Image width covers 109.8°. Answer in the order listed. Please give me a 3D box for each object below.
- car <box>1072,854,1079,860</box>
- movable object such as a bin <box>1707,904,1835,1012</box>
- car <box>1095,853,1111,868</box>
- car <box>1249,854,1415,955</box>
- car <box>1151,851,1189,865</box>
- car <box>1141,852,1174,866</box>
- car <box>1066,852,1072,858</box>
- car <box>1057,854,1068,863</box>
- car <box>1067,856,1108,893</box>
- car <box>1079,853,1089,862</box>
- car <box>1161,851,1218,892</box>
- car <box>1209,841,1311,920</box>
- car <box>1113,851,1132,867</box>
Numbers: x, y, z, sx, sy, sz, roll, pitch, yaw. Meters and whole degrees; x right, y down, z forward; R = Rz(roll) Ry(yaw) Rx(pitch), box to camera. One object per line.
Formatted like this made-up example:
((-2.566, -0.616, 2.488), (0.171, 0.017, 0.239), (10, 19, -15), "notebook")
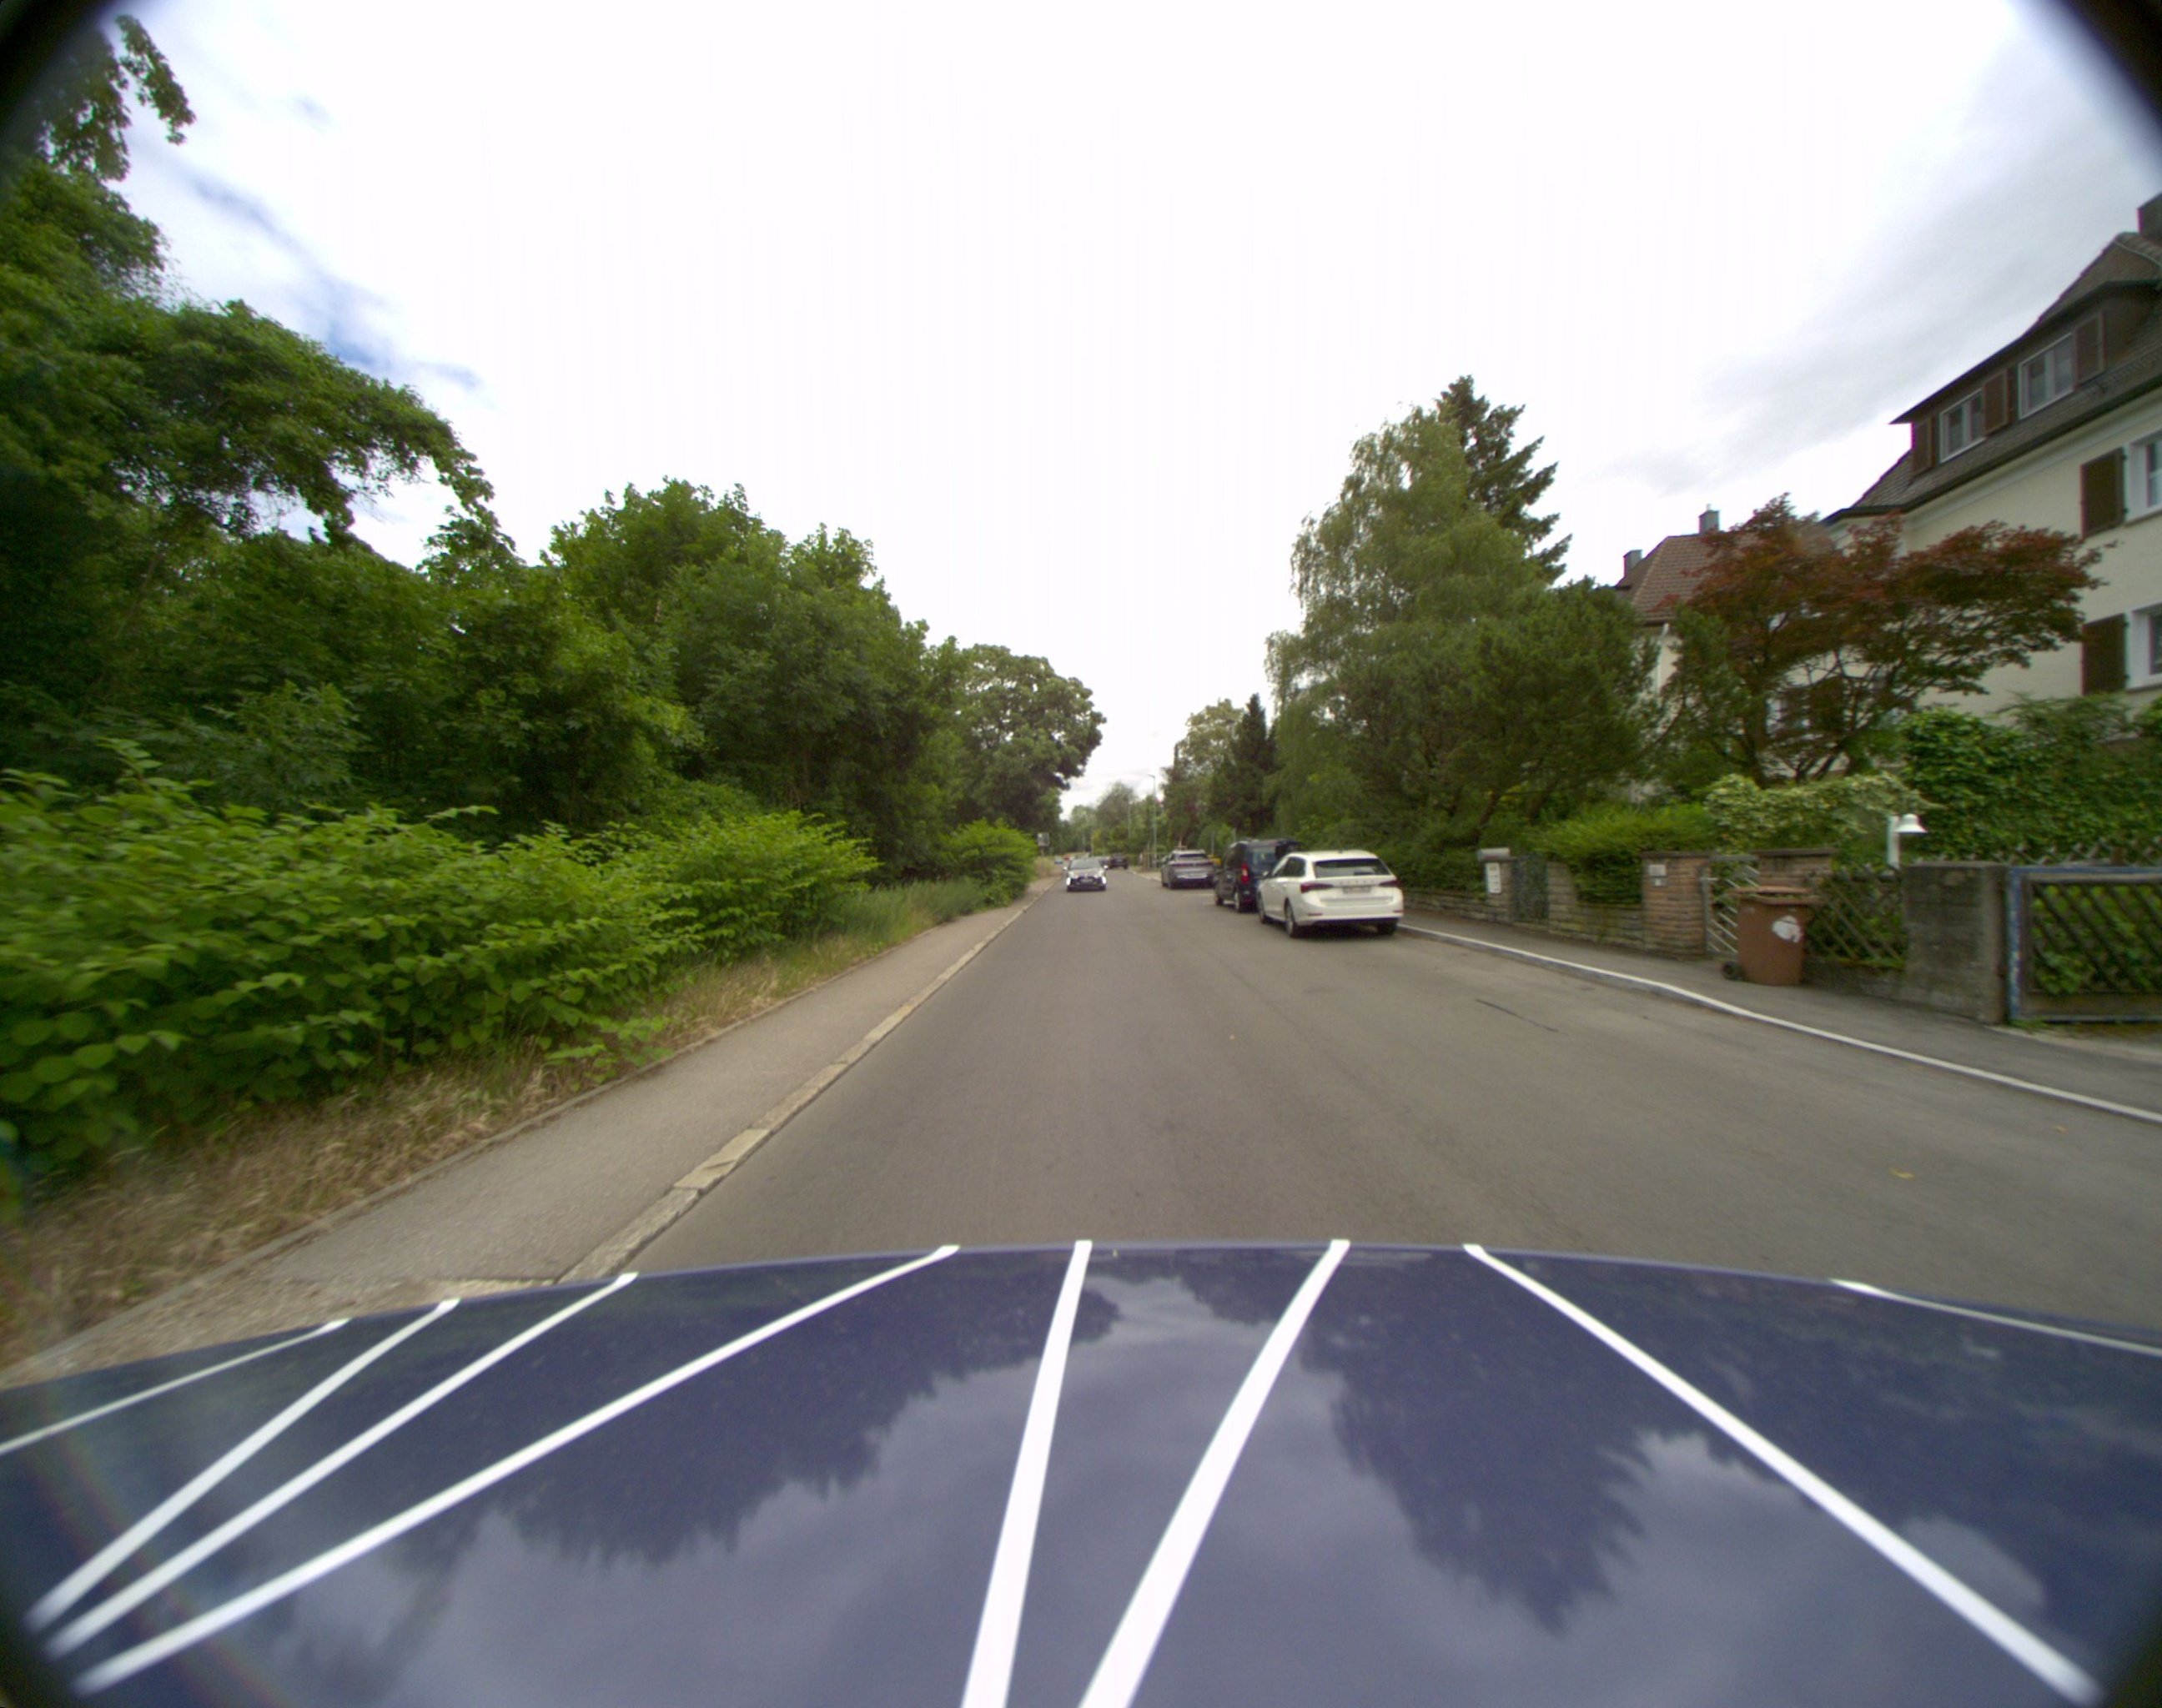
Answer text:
((-1.633, 0.861, 212.493), (1.922, 1.670, 4.194), (-2, 0, -2), "car")
((6.628, 0.978, 7.328), (0.612, 0.927, 0.654), (-2, 1, 0), "movable object such as a bin")
((2.343, 0.687, 81.100), (1.711, 1.466, 4.195), (-2, 0, 1), "car")
((4.401, 0.786, 14.091), (1.711, 1.502, 4.555), (-2, 0, 2), "car")
((9.105, 0.408, 78.002), (3.774, 1.306, 1.641), (-2, 0, 2), "car")
((8.805, 0.572, 87.546), (3.772, 1.581, 1.641), (-2, 0, 6), "car")
((-3.763, 0.260, 239.588), (1.922, 1.670, 4.194), (-2, 0, -2), "car")
((-3.595, 0.916, 150.239), (1.923, 1.670, 4.193), (-2, 0, -4), "car")
((0.324, 0.864, 34.000), (1.711, 1.466, 4.195), (-2, 0, 1), "car")
((0.661, 0.737, 159.103), (1.922, 1.670, 4.194), (-2, 0, -2), "car")
((4.602, 0.698, 32.879), (1.800, 1.598, 4.730), (-2, 0, 0), "car")
((4.543, 0.612, 19.917), (1.711, 1.789, 4.298), (-2, 0, 1), "car")
((4.523, 0.503, 84.127), (1.922, 1.670, 4.195), (-2, 0, 1), "car")
